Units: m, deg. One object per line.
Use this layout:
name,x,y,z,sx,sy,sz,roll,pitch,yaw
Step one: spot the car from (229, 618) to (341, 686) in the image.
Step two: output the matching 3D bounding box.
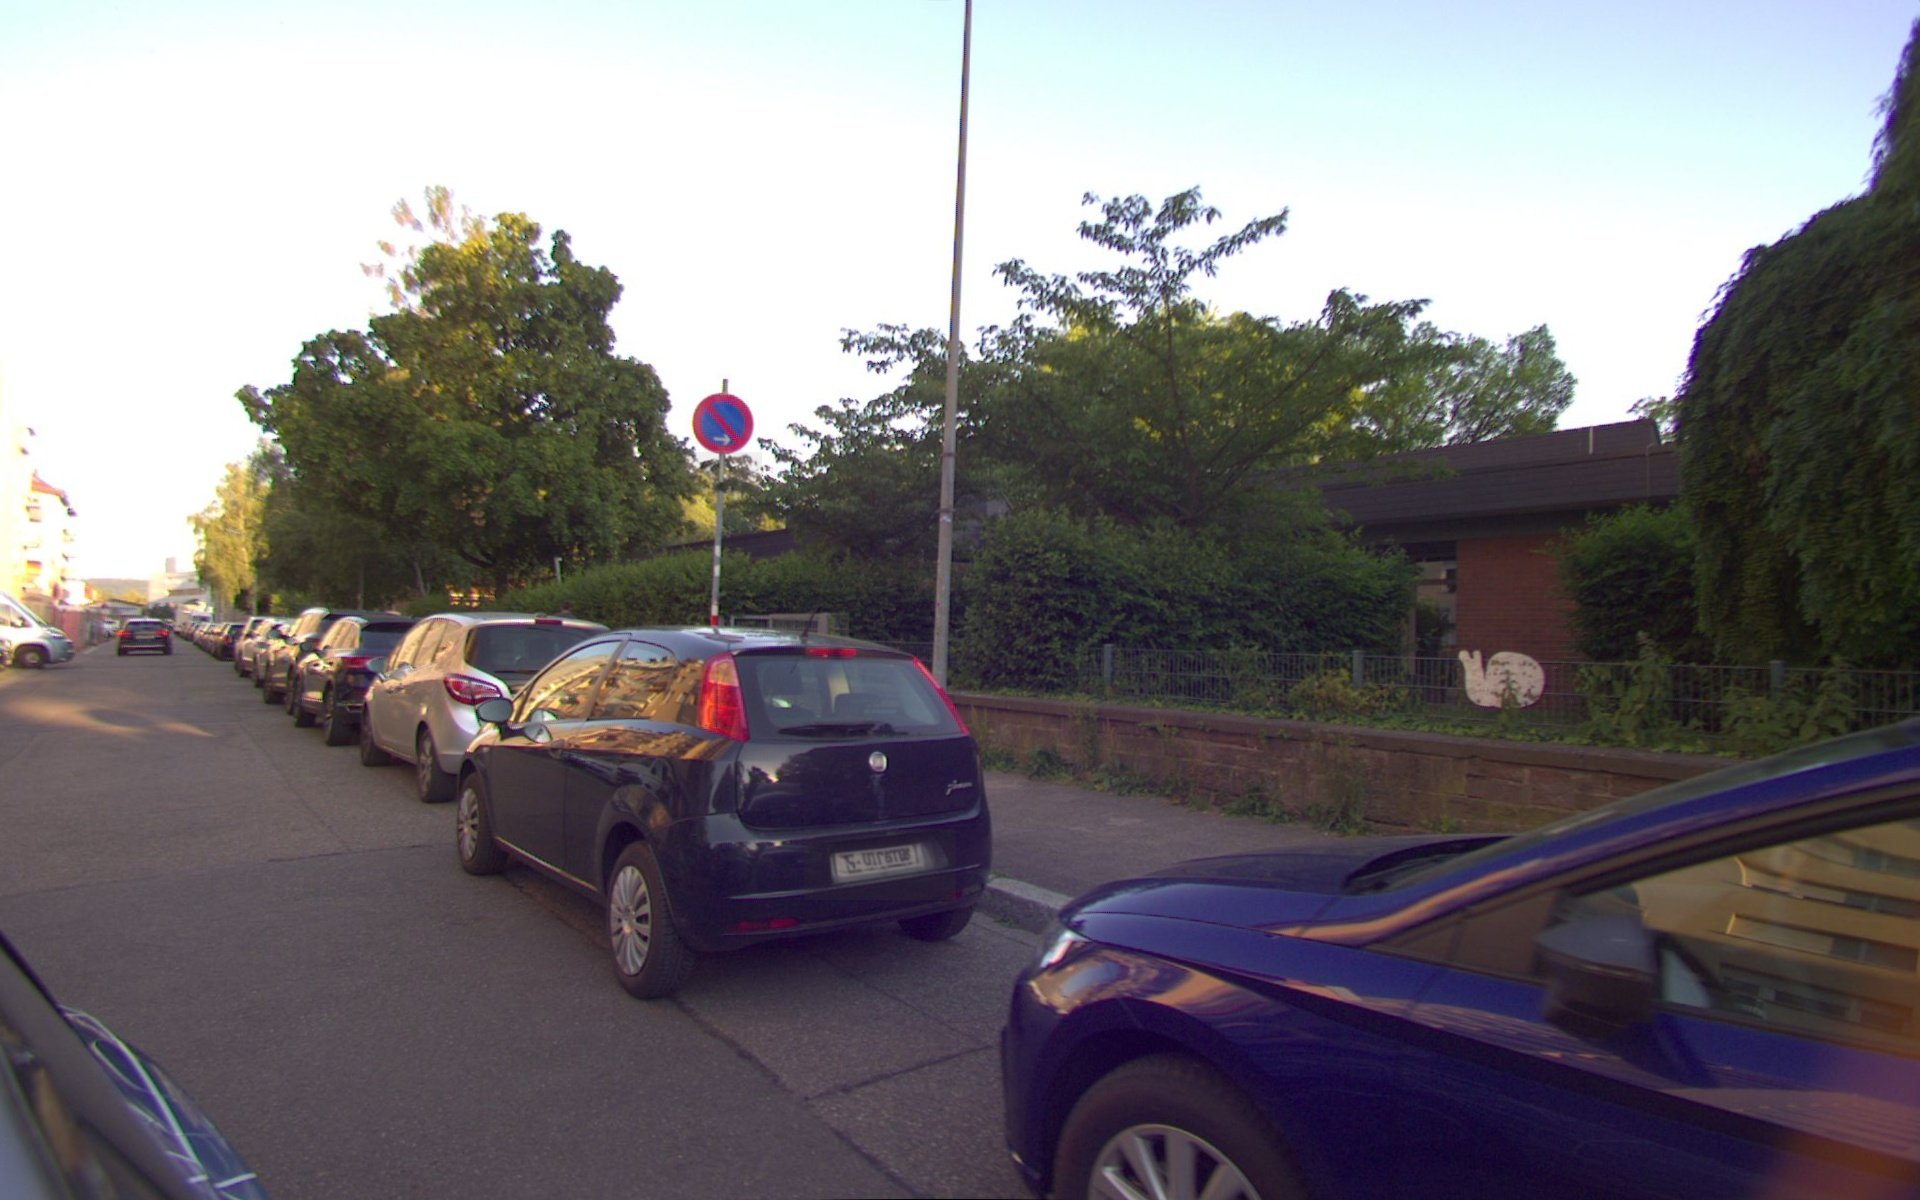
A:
car,-17.053,1.301,25.490,1.737,1.554,4.286,4,-4,-41

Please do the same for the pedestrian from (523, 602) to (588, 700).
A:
pedestrian,-7.508,0.927,18.774,0.888,1.745,0.751,-1,-1,-40

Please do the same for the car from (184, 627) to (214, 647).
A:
car,-61.591,3.017,81.867,1.711,1.522,4.299,4,-4,-39

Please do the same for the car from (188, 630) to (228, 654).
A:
car,-46.786,2.599,62.903,1.711,1.377,4.299,4,-4,-39

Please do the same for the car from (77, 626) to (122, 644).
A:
car,-101.771,4.145,119.773,3.936,2.029,2.004,1,-2,-39

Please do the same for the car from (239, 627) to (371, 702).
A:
car,-14.078,1.332,21.655,1.712,1.438,4.293,4,-4,-41

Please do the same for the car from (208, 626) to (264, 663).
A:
car,-30.741,1.882,42.937,1.711,1.457,3.812,4,-4,-38

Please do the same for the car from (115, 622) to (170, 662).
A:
car,-35.945,1.830,44.534,1.711,1.644,4.133,4,-4,-39

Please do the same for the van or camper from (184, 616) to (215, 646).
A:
van or camper,-64.955,2.655,86.371,1.797,2.433,4.299,4,-4,-39

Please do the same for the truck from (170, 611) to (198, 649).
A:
truck,-82.138,3.148,107.091,2.149,3.912,4.936,1,-2,-38

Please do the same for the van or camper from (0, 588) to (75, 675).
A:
van or camper,-29.980,0.833,29.540,5.981,2.523,2.054,4,-4,-38

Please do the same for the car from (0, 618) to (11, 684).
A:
car,-24.994,1.128,23.302,4.346,1.565,1.850,4,-2,-38

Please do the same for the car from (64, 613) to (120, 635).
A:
car,-83.244,2.335,97.093,3.936,2.029,2.004,1,-2,-39

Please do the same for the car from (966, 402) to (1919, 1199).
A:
car,1.923,0.598,1.507,1.712,1.579,3.795,4,-4,-41

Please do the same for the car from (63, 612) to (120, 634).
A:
car,-81.207,2.175,94.678,3.936,2.029,2.004,1,-2,-39

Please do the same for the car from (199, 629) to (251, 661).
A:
car,-34.793,2.136,47.883,1.711,1.436,3.811,4,-4,-39

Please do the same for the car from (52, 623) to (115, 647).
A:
car,-74.378,2.960,85.926,3.936,2.029,2.004,1,-2,-39

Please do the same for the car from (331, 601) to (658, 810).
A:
car,-4.666,0.895,9.816,1.712,1.579,4.135,4,-4,-41

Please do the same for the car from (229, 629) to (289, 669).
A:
car,-26.901,1.876,38.794,1.599,1.436,3.422,4,-4,-38

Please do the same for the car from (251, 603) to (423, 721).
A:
car,-10.665,1.022,17.196,1.712,1.743,4.329,4,-4,-41

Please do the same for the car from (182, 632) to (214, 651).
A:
car,-58.135,3.178,77.206,1.711,1.377,4.299,4,-4,-39

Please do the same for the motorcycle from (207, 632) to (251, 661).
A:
motorcycle,-32.858,2.090,45.520,1.571,1.268,0.787,1,-2,-36

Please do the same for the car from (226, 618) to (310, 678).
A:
car,-20.363,1.401,29.722,1.711,1.644,3.988,4,-4,-38

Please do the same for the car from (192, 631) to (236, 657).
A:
car,-41.522,2.430,56.279,1.711,1.377,3.811,4,-4,-39

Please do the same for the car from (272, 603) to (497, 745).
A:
car,-7.727,0.923,13.401,1.712,1.579,4.173,4,-4,-41

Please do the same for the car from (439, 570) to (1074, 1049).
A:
car,-1.341,0.783,5.349,1.711,1.579,3.703,4,-4,-39

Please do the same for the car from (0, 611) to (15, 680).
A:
car,-26.729,1.069,25.215,4.344,1.761,1.850,4,-2,-35

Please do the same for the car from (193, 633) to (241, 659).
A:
car,-38.312,2.362,52.166,1.711,1.297,3.811,4,-4,-39
